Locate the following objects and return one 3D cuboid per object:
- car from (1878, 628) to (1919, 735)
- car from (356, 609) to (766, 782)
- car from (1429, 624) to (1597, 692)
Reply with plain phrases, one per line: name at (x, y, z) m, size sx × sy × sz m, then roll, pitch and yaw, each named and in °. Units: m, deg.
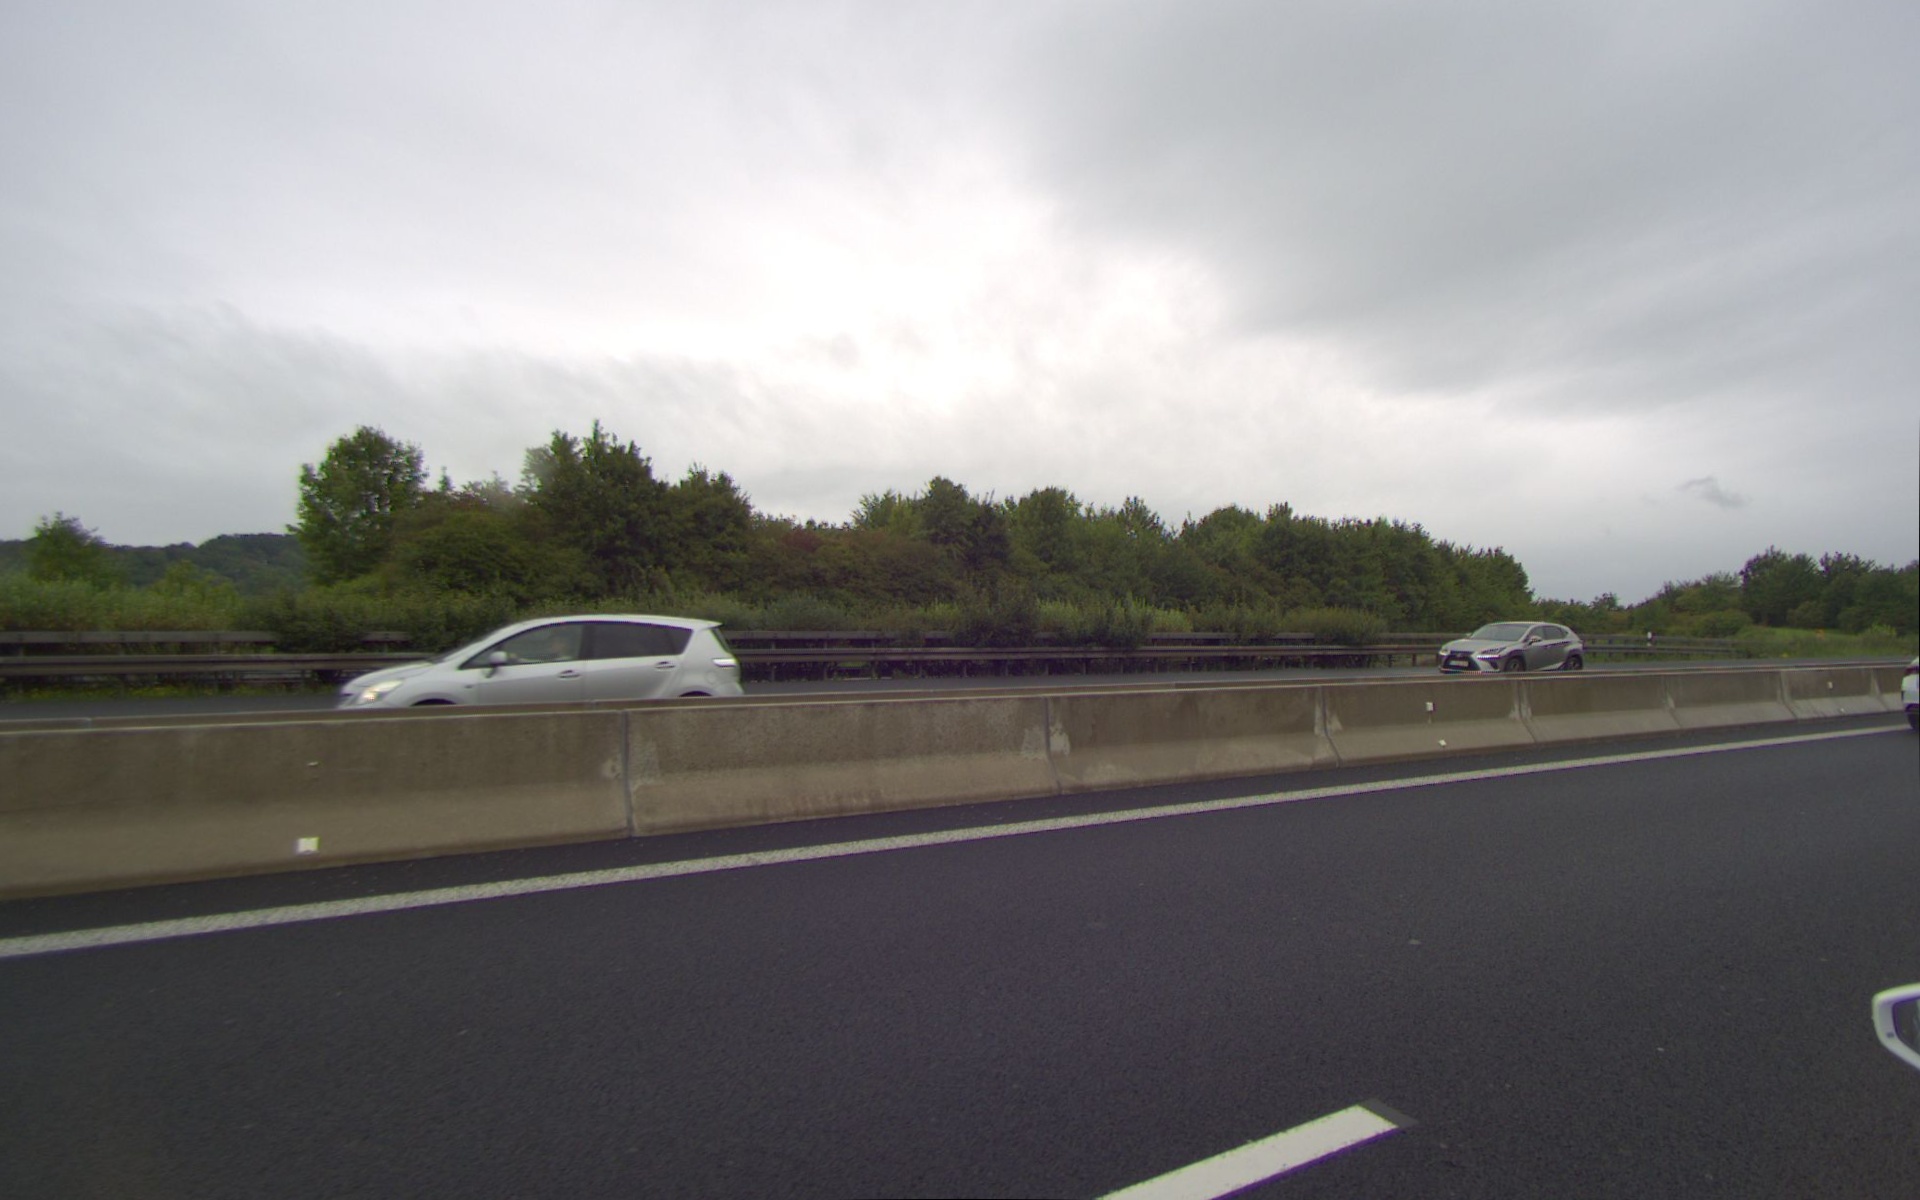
car at (15.559, 1.180, 14.718) m, size 4.722 × 1.475 × 1.810 m, roll 2°, pitch -2°, yaw -30°
car at (-4.695, 1.031, 12.028) m, size 4.253 × 1.733 × 1.984 m, roll 2°, pitch -2°, yaw -30°
car at (14.680, 1.494, 26.611) m, size 4.549 × 1.672 × 1.883 m, roll 2°, pitch -2°, yaw -30°
